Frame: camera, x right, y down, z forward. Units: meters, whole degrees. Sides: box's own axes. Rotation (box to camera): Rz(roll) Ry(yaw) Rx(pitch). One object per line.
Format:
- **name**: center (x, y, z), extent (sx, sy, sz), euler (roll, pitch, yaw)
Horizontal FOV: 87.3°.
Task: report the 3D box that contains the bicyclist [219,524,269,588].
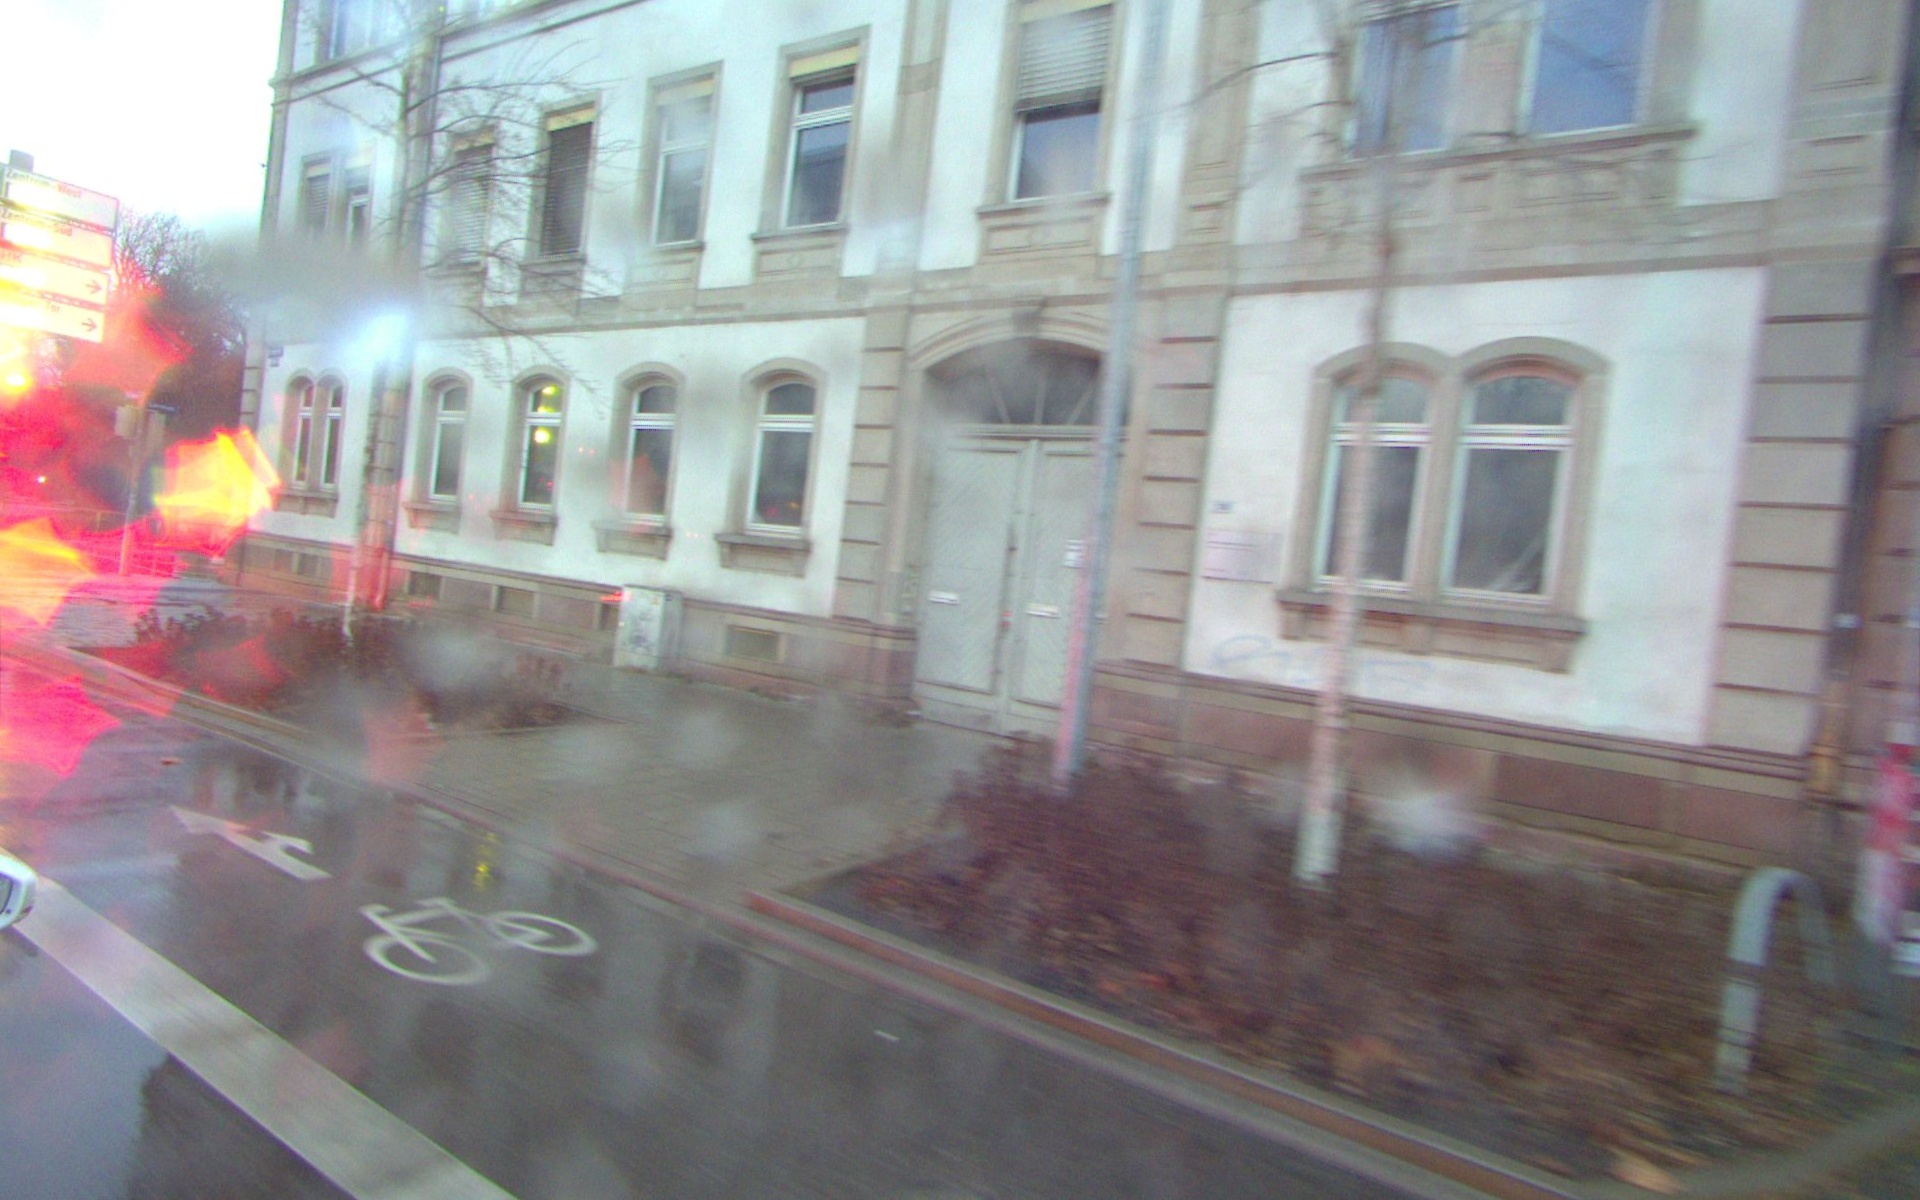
- **bicyclist**: center (-21.536, -1.314, 30.258), extent (0.969, 1.779, 0.803), euler (8, -2, -44)
